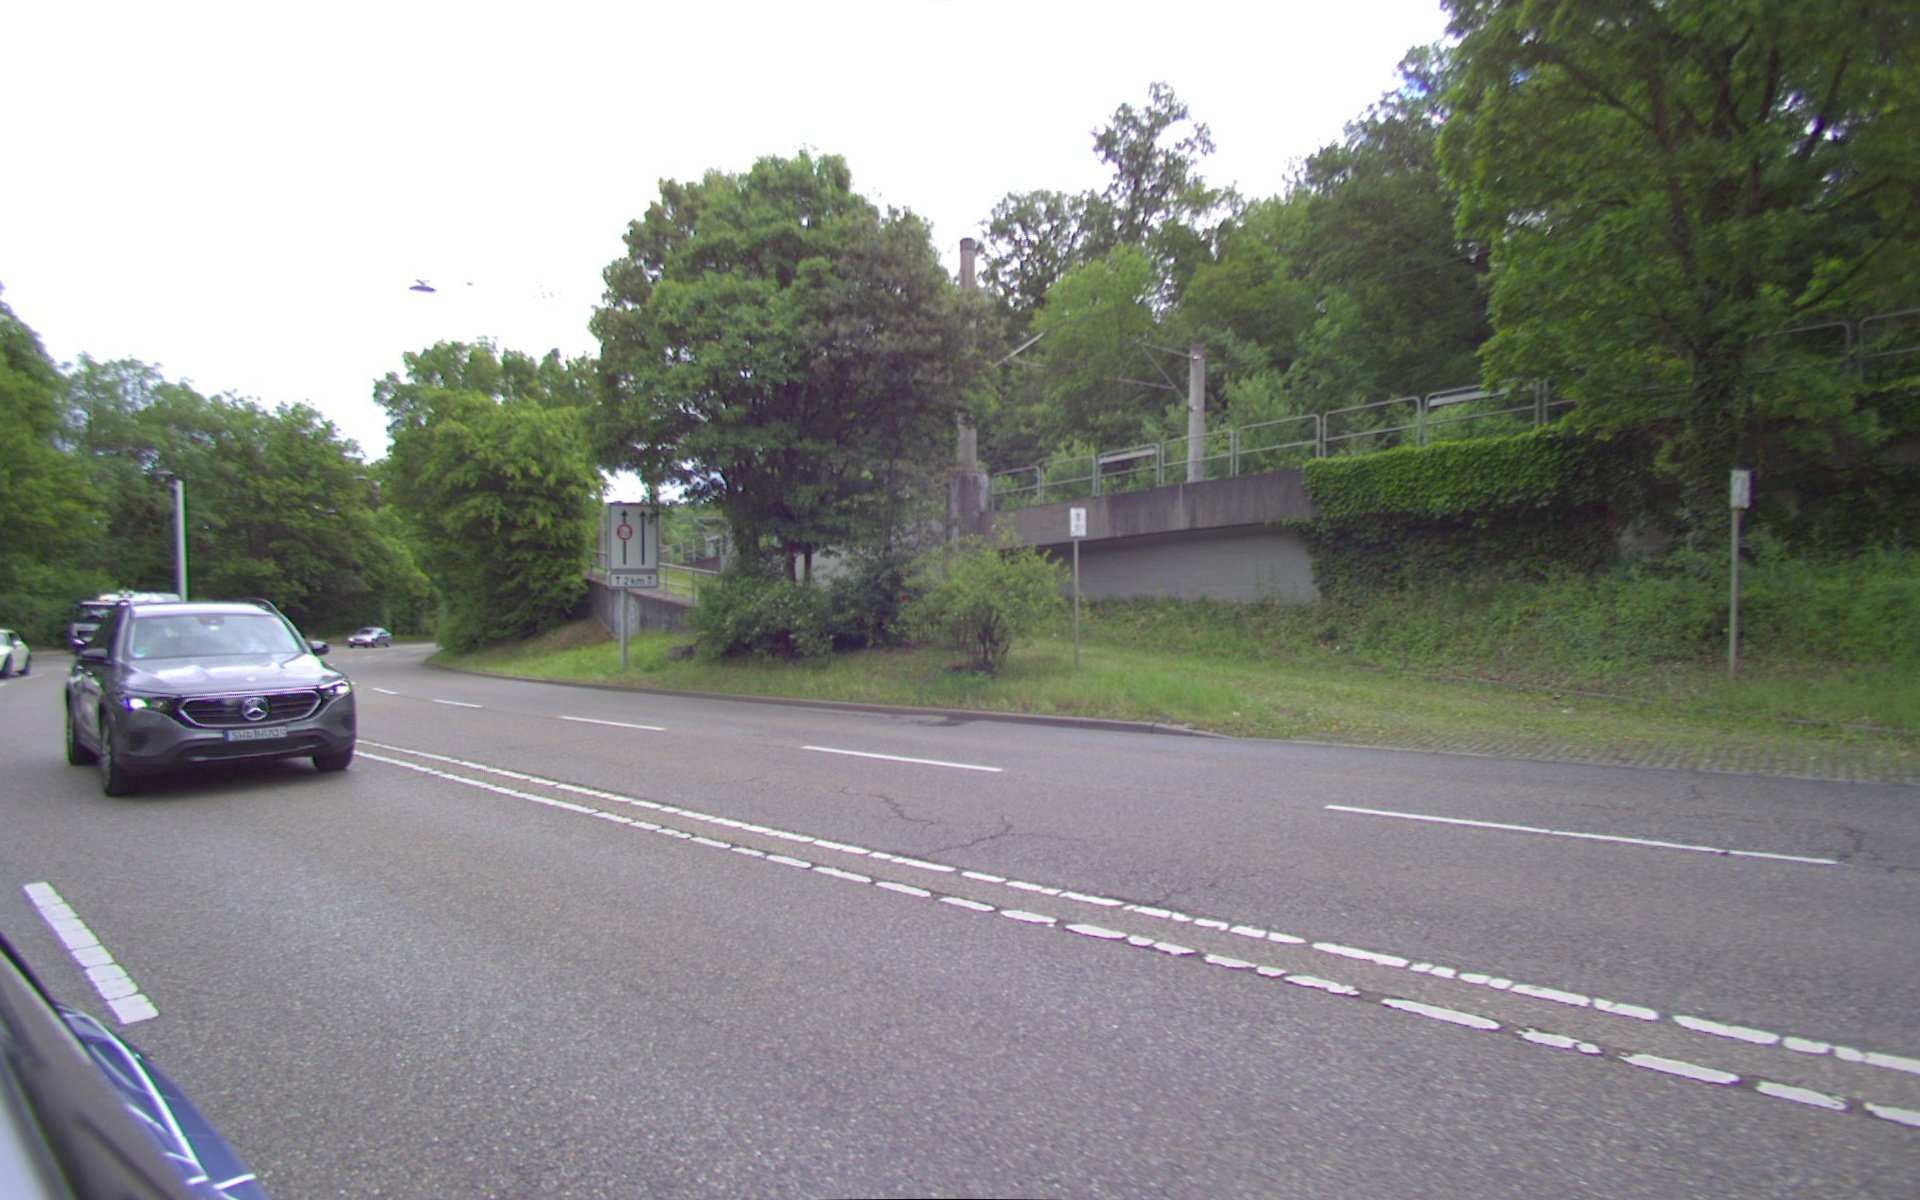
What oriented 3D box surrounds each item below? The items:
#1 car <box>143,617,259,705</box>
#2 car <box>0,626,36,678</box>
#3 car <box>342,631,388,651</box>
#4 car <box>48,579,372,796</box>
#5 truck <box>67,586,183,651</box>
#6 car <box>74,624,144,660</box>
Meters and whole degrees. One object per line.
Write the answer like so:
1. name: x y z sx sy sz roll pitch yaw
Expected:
1. car: -16.182 1.236 21.559 1.825 1.664 4.366 0 -2 -38
2. car: -28.458 1.493 29.344 1.661 1.435 3.744 2 -2 -30
3. car: -42.197 2.919 71.852 1.727 1.372 4.020 1 -3 -13
4. car: -7.499 0.739 9.949 4.358 1.664 1.829 -2 -2 43
5. truck: -43.169 0.997 52.555 2.164 3.180 6.670 0 -2 -16
6. car: -36.292 1.799 43.241 1.727 1.436 4.021 2 -3 -32
